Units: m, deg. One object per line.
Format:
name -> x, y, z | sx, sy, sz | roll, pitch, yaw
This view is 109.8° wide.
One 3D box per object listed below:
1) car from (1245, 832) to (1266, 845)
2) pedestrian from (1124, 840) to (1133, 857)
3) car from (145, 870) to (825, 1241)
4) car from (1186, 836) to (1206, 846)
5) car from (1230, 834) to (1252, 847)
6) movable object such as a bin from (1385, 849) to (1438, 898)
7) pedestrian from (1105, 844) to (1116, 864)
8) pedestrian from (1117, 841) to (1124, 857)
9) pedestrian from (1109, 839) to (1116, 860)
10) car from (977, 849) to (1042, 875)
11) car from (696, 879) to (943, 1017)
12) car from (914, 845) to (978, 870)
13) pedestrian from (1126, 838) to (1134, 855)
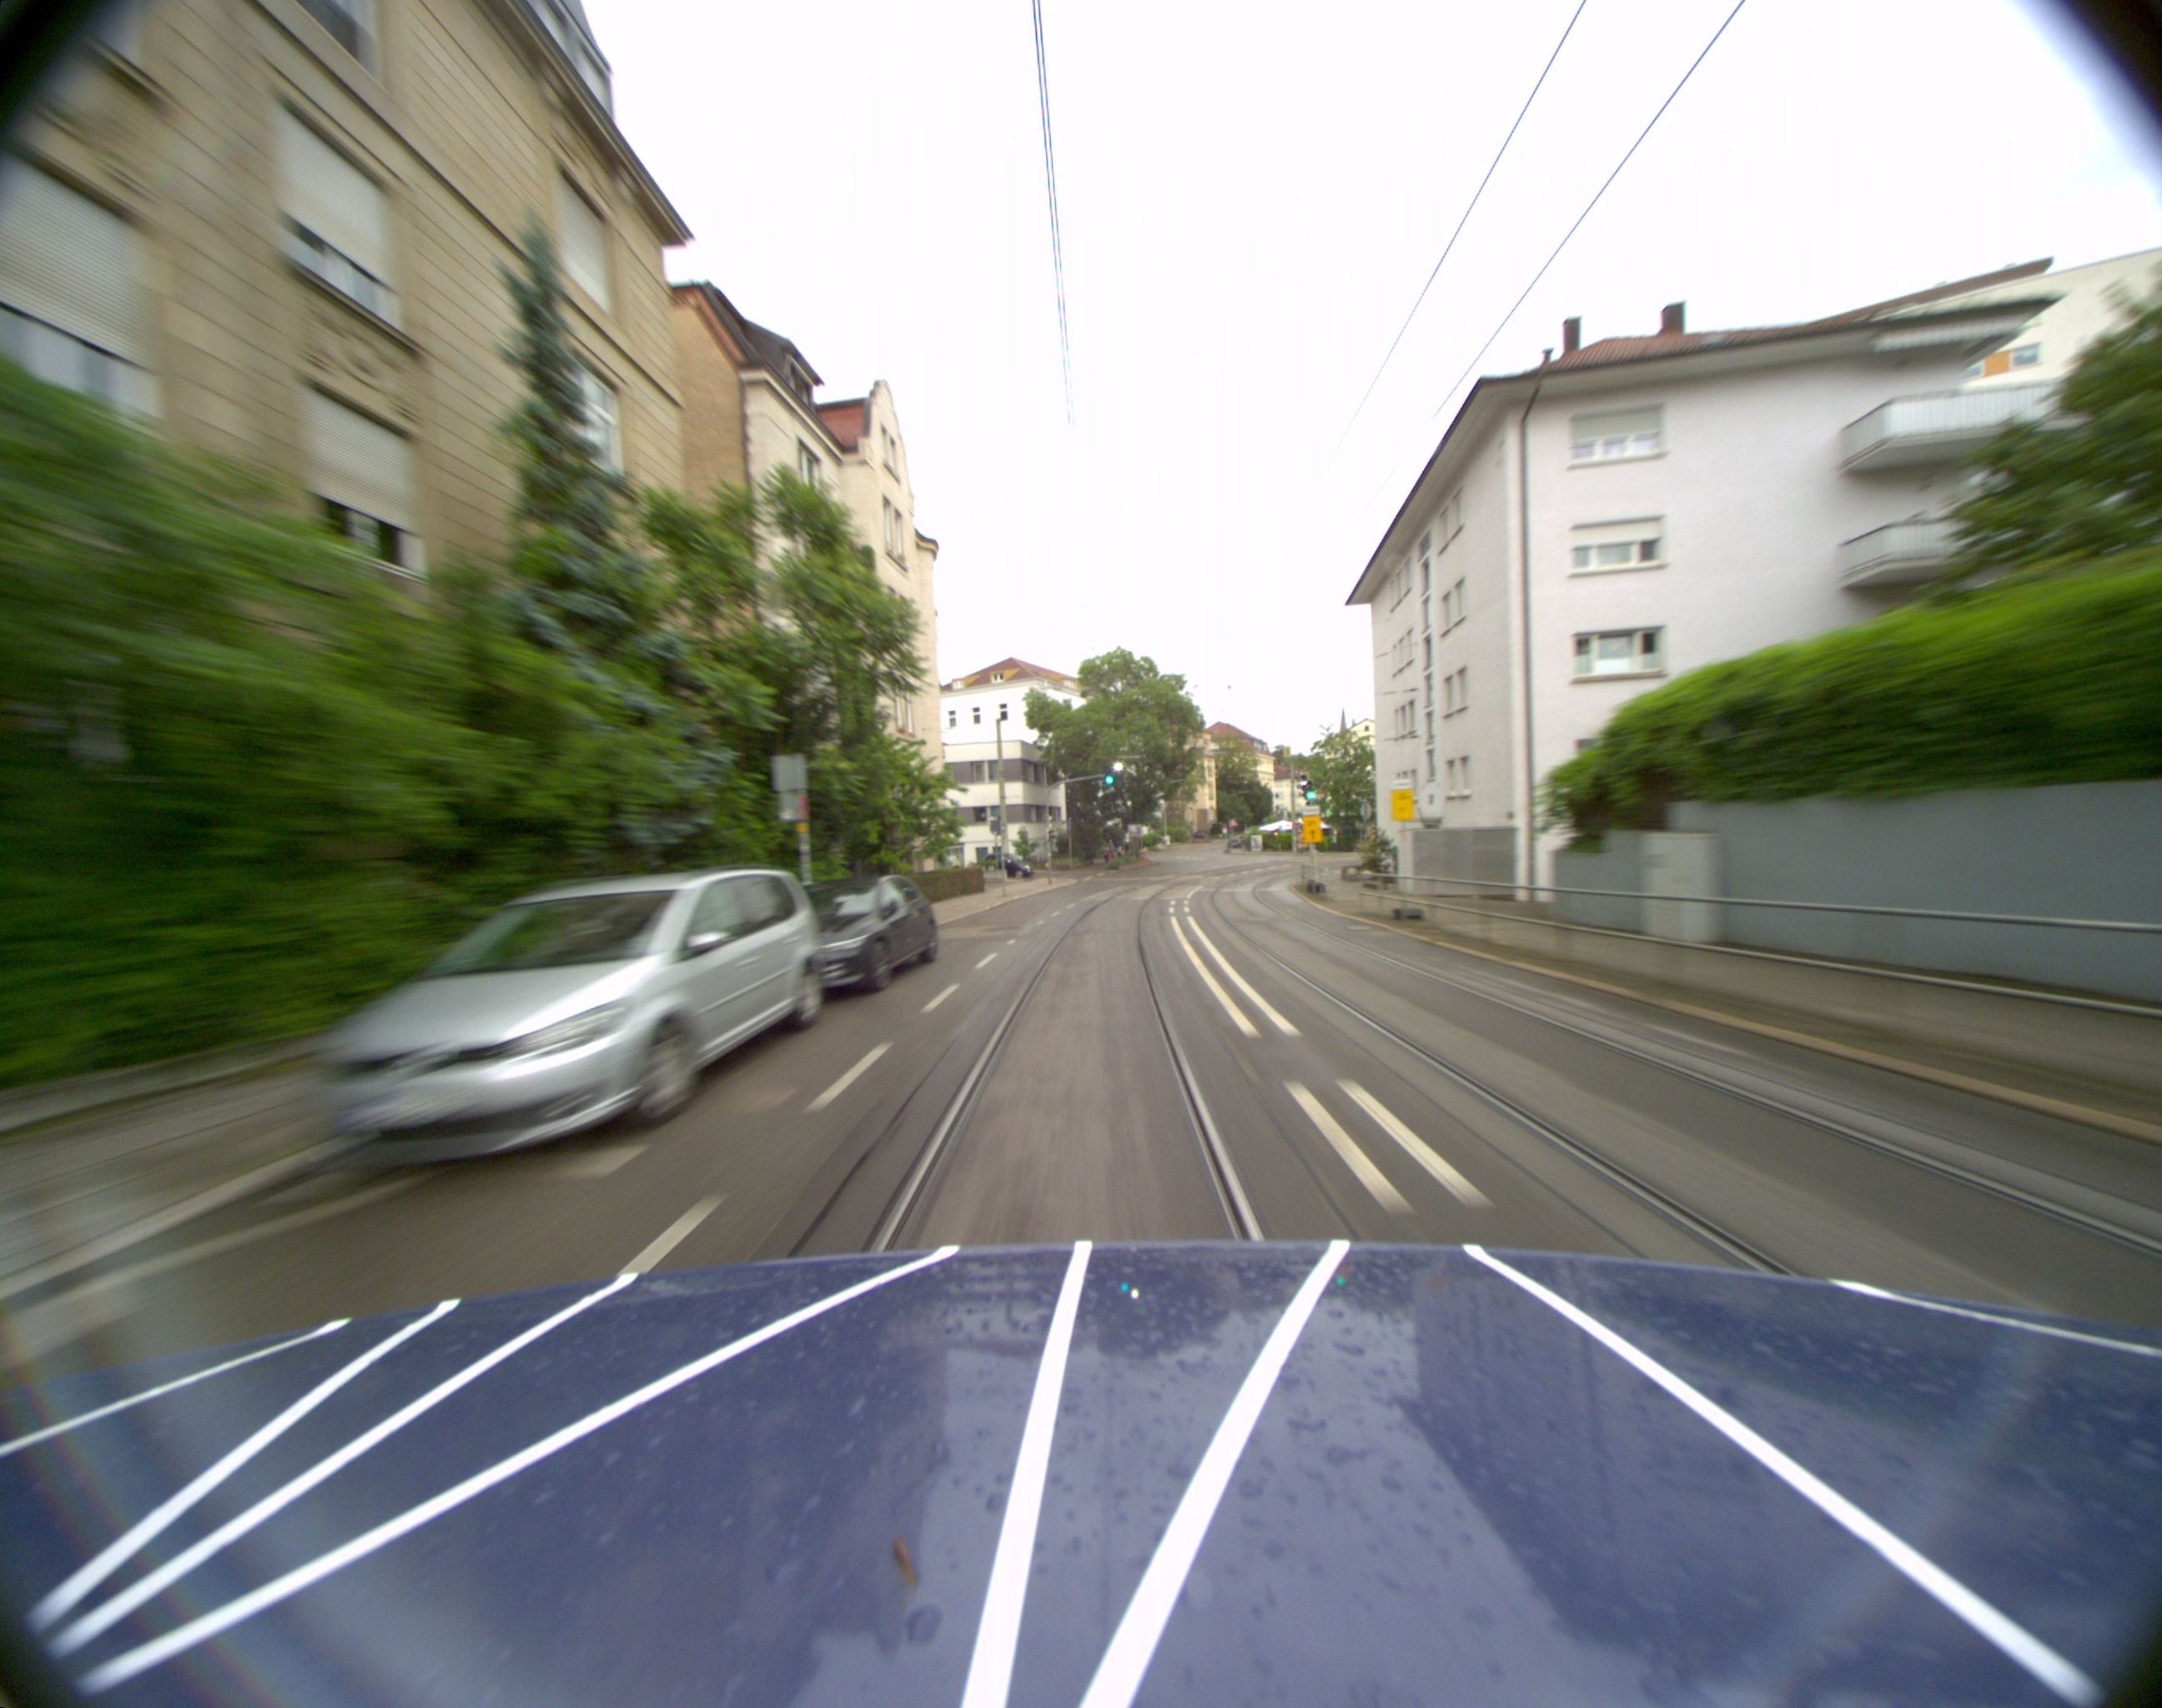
car -> 22.416, -2.001, 97.614 | 1.689, 1.680, 3.810 | 0, 2, 26
pedestrian -> 4.499, -0.499, 72.086 | 0.600, 1.556, 0.547 | -1, -1, 45
car -> -3.556, 1.009, 5.775 | 1.770, 1.594, 4.287 | -2, 0, -1
car -> 16.569, -1.896, 109.425 | 1.596, 1.333, 3.642 | -1, -1, 29
car -> 19.265, -1.623, 91.236 | 1.689, 1.434, 3.810 | 0, 2, 26
movable object such as a bin -> 10.071, 0.593, 23.212 | 1.187, 1.453, 1.291 | -1, 0, 10
pedestrian -> 2.521, 0.000, 64.937 | 0.744, 1.690, 0.674 | 2, 0, 16
pedestrian -> 3.762, -0.464, 71.845 | 0.386, 1.498, 0.537 | -3, 4, -42
pedestrian -> 3.035, -0.434, 72.351 | 0.542, 1.913, 0.917 | -1, 3, 9
car -> -4.487, 0.497, 47.811 | 3.664, 1.500, 1.739 | 1, 2, 13
car -> -3.301, 1.119, 10.510 | 1.770, 1.382, 4.002 | -4, -1, 3
car -> -8.637, 0.189, 48.703 | 3.664, 1.500, 1.739 | 1, 2, 13
pedestrian -> 4.814, -0.762, 74.355 | 0.544, 1.620, 0.603 | -1, -1, 21
